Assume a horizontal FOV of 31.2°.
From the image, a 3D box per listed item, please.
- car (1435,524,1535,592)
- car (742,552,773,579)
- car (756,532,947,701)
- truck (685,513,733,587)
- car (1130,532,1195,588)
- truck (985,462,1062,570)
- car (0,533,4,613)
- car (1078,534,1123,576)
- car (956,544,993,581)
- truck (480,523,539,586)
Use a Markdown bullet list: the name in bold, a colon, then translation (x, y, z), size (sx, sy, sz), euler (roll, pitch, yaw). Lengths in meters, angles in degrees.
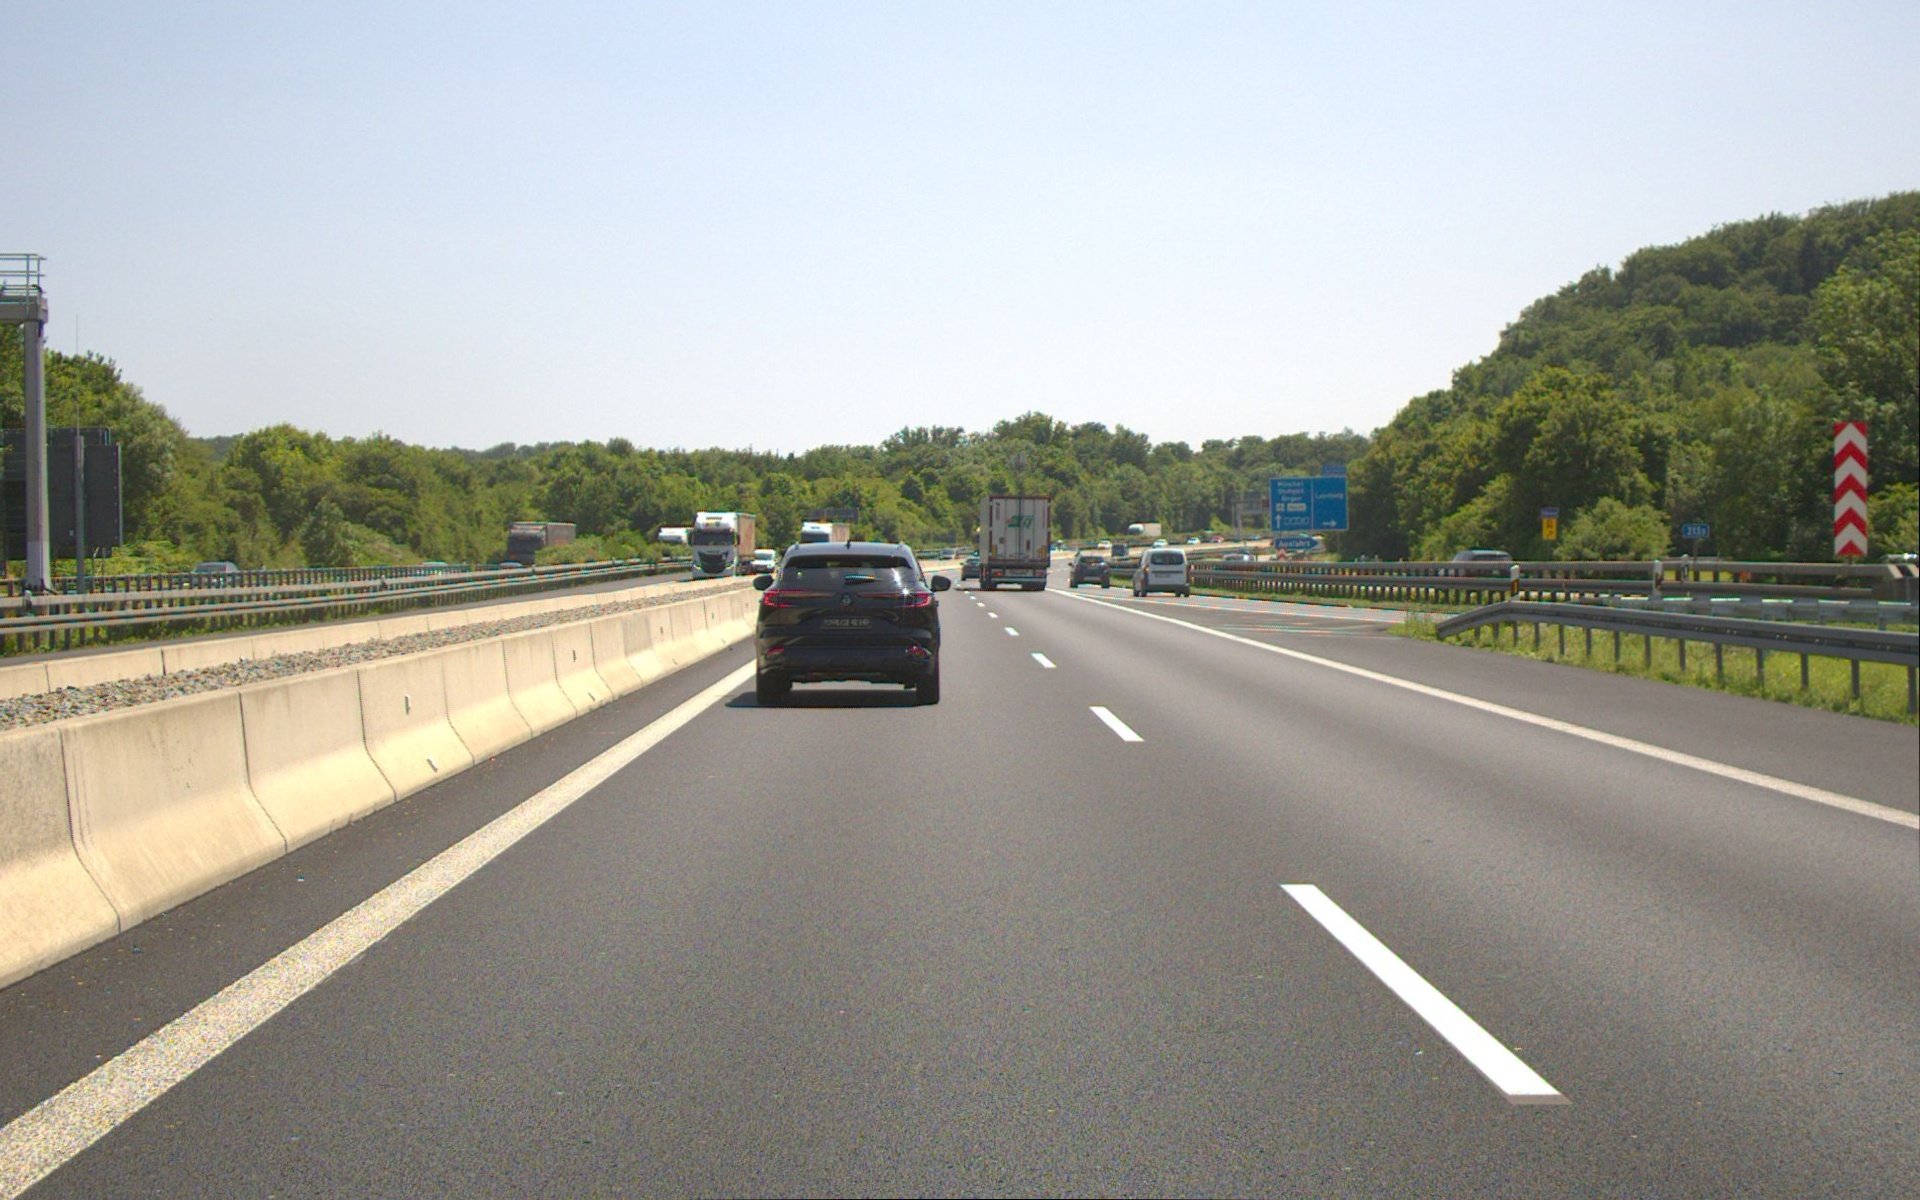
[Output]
- **car**: translation (16.323, -1.310, 107.114), size (1.993, 2.007, 4.001), euler (-2, 1, -7)
- **car**: translation (-14.075, -2.388, 239.301), size (1.742, 1.820, 4.903), euler (1, 0, 1)
- **car**: translation (-1.146, 0.141, 35.008), size (1.779, 1.572, 4.000), euler (2, 0, -3)
- **truck**: translation (-14.785, -2.907, 202.562), size (2.705, 4.273, 4.554), euler (1, 0, -4)
- **car**: translation (7.600, -1.514, 129.116), size (1.993, 2.007, 4.000), euler (-2, 1, -2)
- **truck**: translation (2.812, -3.544, 149.049), size (3.032, 4.403, 12.018), euler (1, 0, 2)
- **car**: translation (-25.326, -0.683, 84.947), size (1.946, 2.007, 4.764), euler (1, 0, 1)
- **car**: translation (6.859, -2.186, 168.001), size (1.993, 2.007, 4.000), euler (1, 0, 0)
- **car**: translation (0.846, -2.248, 207.190), size (2.138, 2.209, 5.088), euler (1, 0, -1)
- **truck**: translation (-30.628, -3.075, 233.938), size (2.811, 4.258, 4.997), euler (1, 0, 7)
